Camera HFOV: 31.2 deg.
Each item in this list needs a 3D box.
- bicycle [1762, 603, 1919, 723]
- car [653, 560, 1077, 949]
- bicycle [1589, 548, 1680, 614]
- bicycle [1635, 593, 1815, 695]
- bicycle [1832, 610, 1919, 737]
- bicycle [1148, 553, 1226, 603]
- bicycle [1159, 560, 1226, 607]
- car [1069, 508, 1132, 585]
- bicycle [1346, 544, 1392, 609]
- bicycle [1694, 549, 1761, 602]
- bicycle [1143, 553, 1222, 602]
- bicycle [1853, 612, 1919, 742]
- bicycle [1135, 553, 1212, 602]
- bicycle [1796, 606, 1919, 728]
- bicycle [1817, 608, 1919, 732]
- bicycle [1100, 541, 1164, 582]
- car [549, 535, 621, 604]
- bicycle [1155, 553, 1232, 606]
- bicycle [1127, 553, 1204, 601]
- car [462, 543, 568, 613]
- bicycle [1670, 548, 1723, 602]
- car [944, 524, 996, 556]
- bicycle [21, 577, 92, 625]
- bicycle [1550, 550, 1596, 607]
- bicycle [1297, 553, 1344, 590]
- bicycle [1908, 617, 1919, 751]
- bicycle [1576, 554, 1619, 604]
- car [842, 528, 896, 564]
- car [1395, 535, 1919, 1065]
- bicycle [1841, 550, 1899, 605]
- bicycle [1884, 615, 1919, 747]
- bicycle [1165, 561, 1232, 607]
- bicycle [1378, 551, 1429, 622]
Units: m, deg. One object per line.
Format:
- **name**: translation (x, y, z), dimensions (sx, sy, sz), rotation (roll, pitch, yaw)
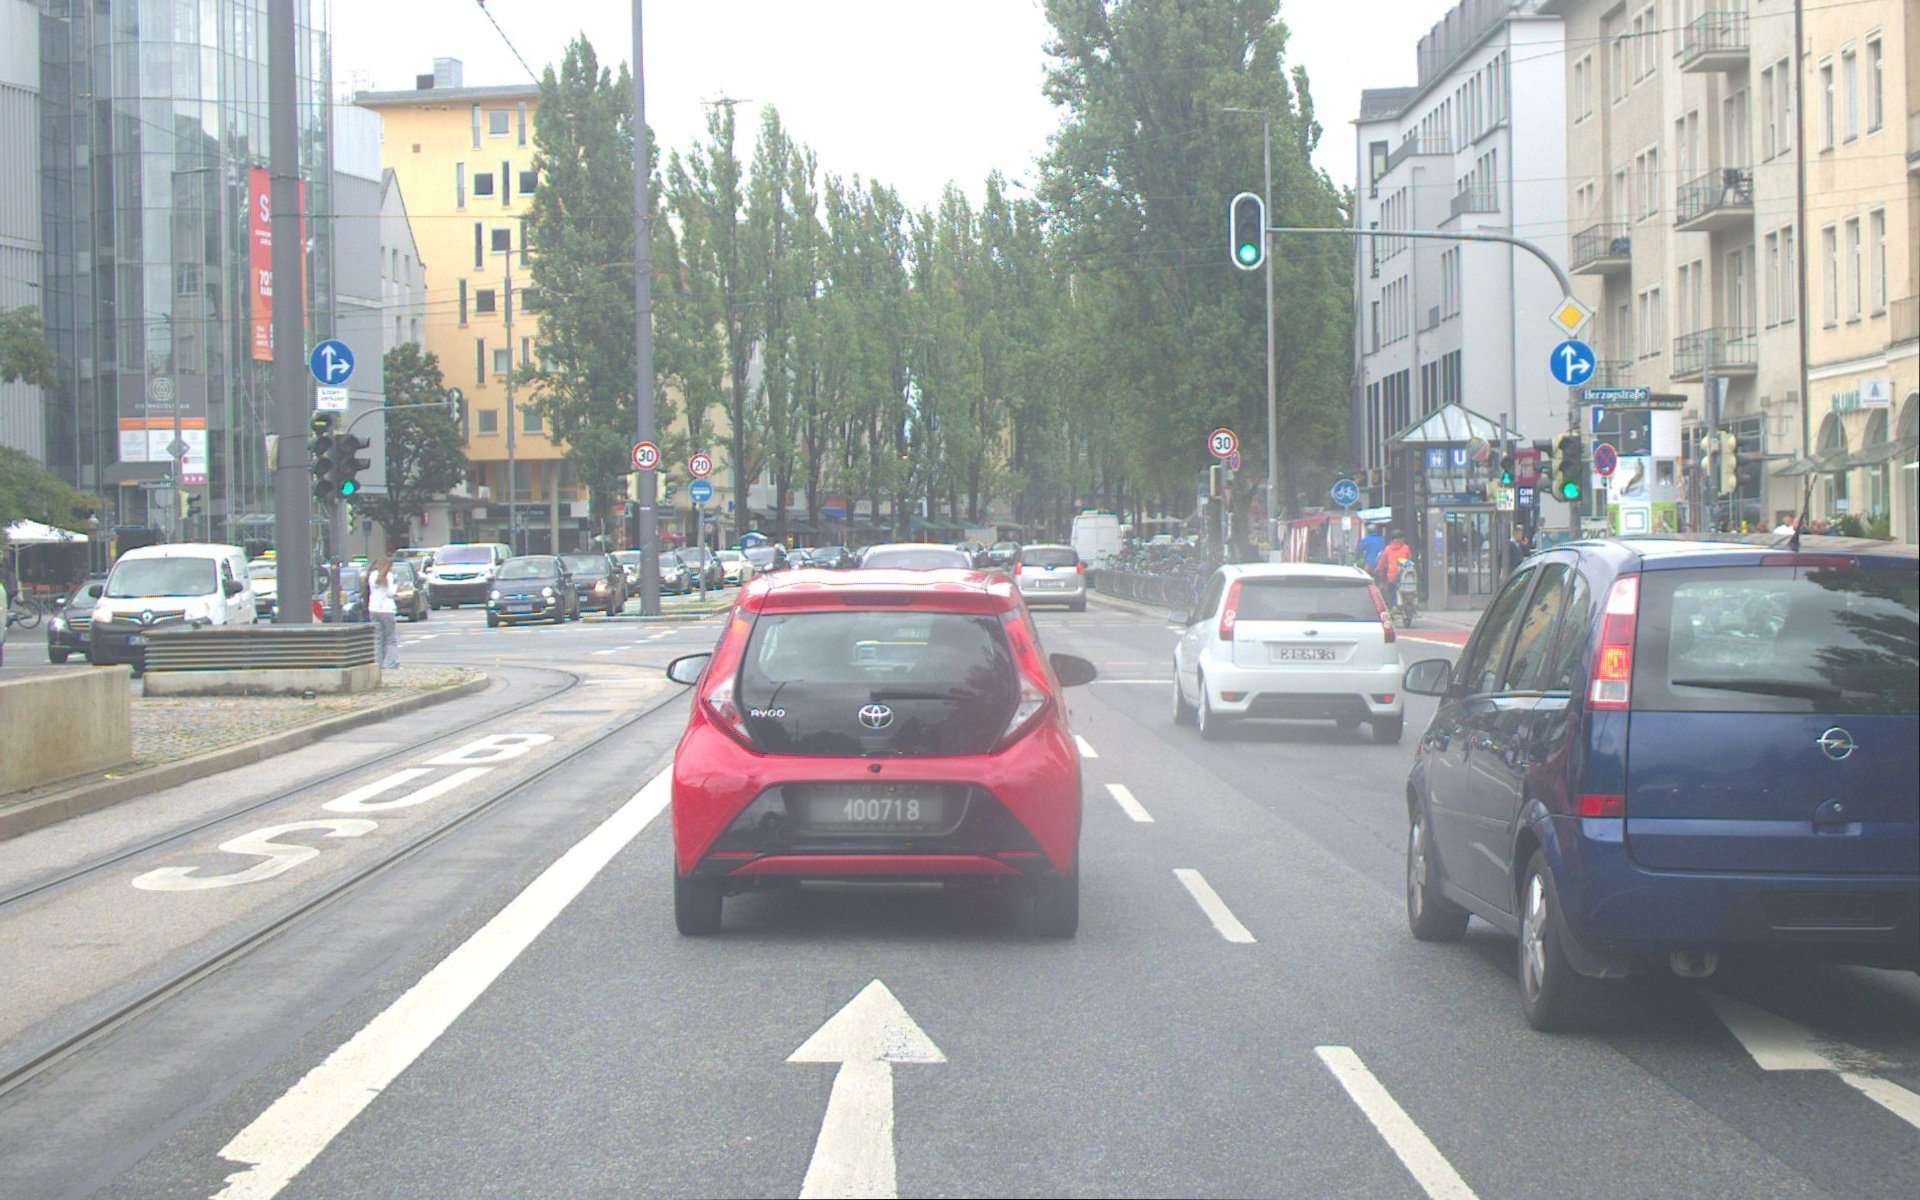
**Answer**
- **bicycle**: translation (7.763, 0.535, 29.265), dimensions (1.840, 0.992, 0.347), rotation (-1, 1, 40)
- **car**: translation (-0.344, 0.567, 14.617), dimensions (1.605, 1.456, 3.130), rotation (0, 1, 1)
- **bicycle**: translation (12.551, -0.358, 63.990), dimensions (1.568, 1.156, 0.525), rotation (-2, 3, 3)
- **bicycle**: translation (7.719, 0.447, 34.739), dimensions (1.841, 0.992, 0.347), rotation (-1, 1, 44)
- **bicycle**: translation (7.808, 0.575, 27.112), dimensions (1.841, 0.992, 0.347), rotation (-1, 1, 44)
- **bicycle**: translation (5.269, -0.507, 79.972), dimensions (1.803, 1.154, 0.547), rotation (0, 1, 38)
- **bicycle**: translation (5.259, -0.376, 77.921), dimensions (0.498, 1.025, 1.601), rotation (-2, 2, -42)
- **car**: translation (5.052, -1.924, 124.189), dimensions (2.107, 2.709, 4.804), rotation (-1, 1, 1)
- **bicycle**: translation (8.229, -0.486, 69.267), dimensions (0.614, 1.260, 2.520), rotation (-1, 1, 0)
- **bicycle**: translation (15.400, -0.499, 69.006), dimensions (0.494, 1.055, 1.867), rotation (-1, 1, -15)
- **bicycle**: translation (5.275, -0.532, 81.465), dimensions (1.801, 1.154, 0.486), rotation (0, 1, 26)
- **bicycle**: translation (7.787, 0.588, 26.394), dimensions (1.841, 0.992, 0.347), rotation (-1, 1, 44)
- **bicycle**: translation (5.141, -0.537, 82.781), dimensions (1.802, 1.154, 0.486), rotation (0, 1, 30)
- **bicycle**: translation (7.867, 0.551, 28.457), dimensions (1.840, 0.992, 0.347), rotation (-1, 1, 40)
- **bicycle**: translation (7.875, 0.563, 27.802), dimensions (1.840, 0.992, 0.347), rotation (-1, 1, 40)
- **bicycle**: translation (4.801, -1.062, 95.969), dimensions (1.836, 1.132, 0.585), rotation (0, 2, 43)
- **car**: translation (-8.607, -0.701, 78.827), dimensions (1.503, 1.529, 2.838), rotation (-1, 1, -9)
- **bicycle**: translation (5.335, -0.469, 78.579), dimensions (1.803, 1.194, 0.558), rotation (0, 2, 43)
- **bicycle**: translation (5.025, -0.552, 84.159), dimensions (1.803, 1.154, 0.651), rotation (0, 1, 36)
- **car**: translation (-9.602, -0.491, 74.022), dimensions (1.545, 1.440, 3.540), rotation (-1, 1, -19)
- **bicycle**: translation (14.721, -0.507, 68.764), dimensions (0.494, 1.055, 1.867), rotation (-1, 1, -5)
- **car**: translation (0.577, -3.347, 191.429), dimensions (1.995, 1.722, 3.915), rotation (-1, 1, 14)
- **bicycle**: translation (-21.242, 0.015, 80.838), dimensions (1.574, 1.108, 0.373), rotation (0, 1, 4)
- **bicycle**: translation (12.272, -0.444, 68.913), dimensions (0.566, 1.104, 1.866), rotation (-1, 1, 0)
- **bicycle**: translation (9.791, -0.781, 93.374), dimensions (1.224, 0.960, 0.369), rotation (-2, 1, -22)
- **bicycle**: translation (7.844, 0.612, 25.040), dimensions (1.841, 0.992, 0.347), rotation (-1, 1, 44)
- **bicycle**: translation (12.774, -0.433, 68.893), dimensions (0.494, 0.971, 1.866), rotation (-1, 1, 0)
- **car**: translation (-4.450, -2.639, 168.716), dimensions (1.994, 1.686, 4.920), rotation (-2, 1, 5)
- **car**: translation (2.606, 0.571, 12.063), dimensions (1.703, 1.584, 3.556), rotation (0, 1, 0)
- **bicycle**: translation (18.455, -0.470, 69.740), dimensions (0.494, 1.085, 1.867), rotation (-1, 1, -6)
- **bicycle**: translation (7.862, 0.601, 25.705), dimensions (1.840, 0.992, 0.347), rotation (-1, 1, 40)
- **bicycle**: translation (5.340, -0.357, 77.065), dimensions (0.498, 1.025, 1.601), rotation (-2, 2, -42)
- **bicycle**: translation (8.166, -0.264, 63.409), dimensions (0.614, 1.260, 2.520), rotation (-1, 1, 0)
